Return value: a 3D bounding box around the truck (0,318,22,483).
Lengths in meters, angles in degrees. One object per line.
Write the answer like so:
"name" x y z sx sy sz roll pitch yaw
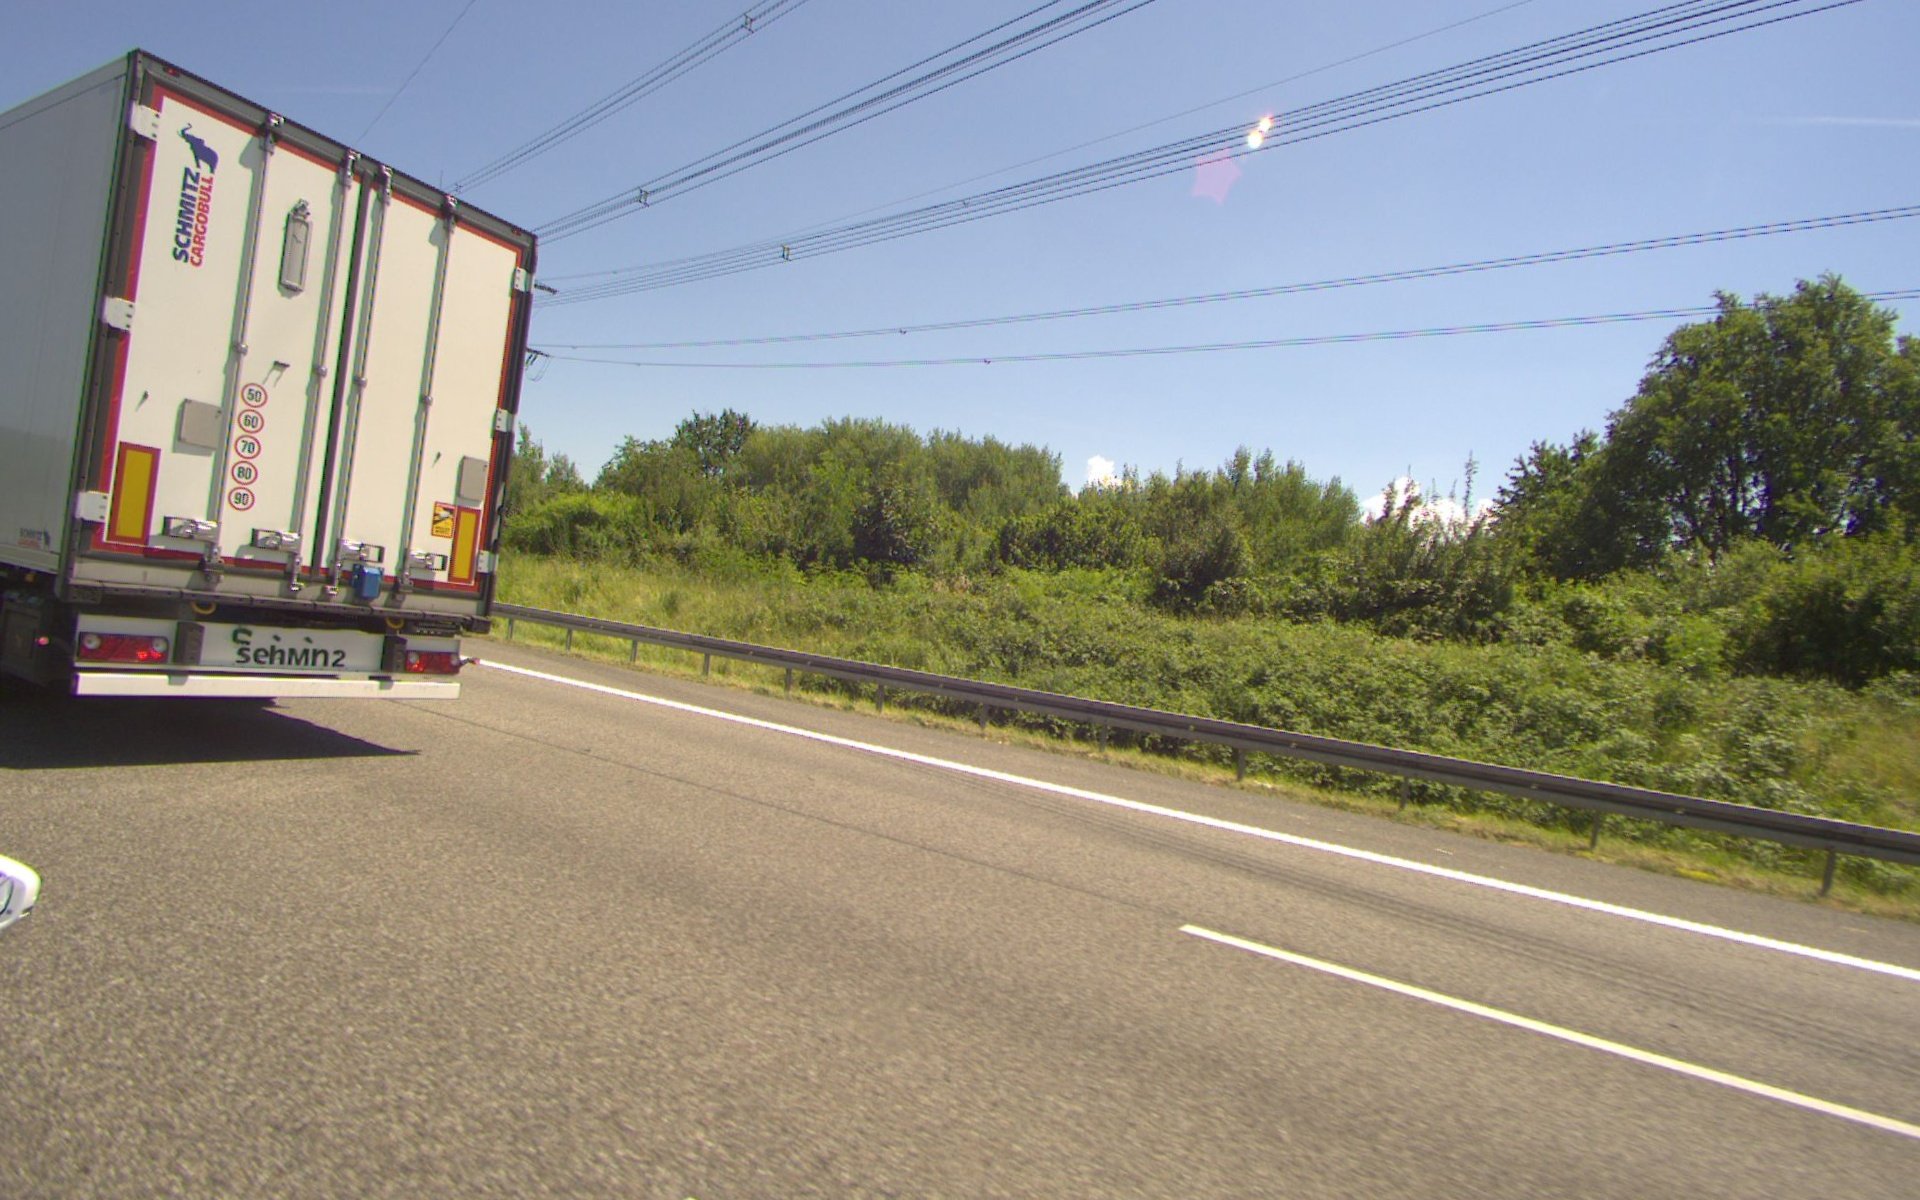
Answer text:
"truck" -16.996 -2.393 14.736 6.000 4.032 2.946 6 -2 32

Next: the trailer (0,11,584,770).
"trailer" -10.670 -1.703 10.797 15.932 4.064 2.943 6 -2 32
